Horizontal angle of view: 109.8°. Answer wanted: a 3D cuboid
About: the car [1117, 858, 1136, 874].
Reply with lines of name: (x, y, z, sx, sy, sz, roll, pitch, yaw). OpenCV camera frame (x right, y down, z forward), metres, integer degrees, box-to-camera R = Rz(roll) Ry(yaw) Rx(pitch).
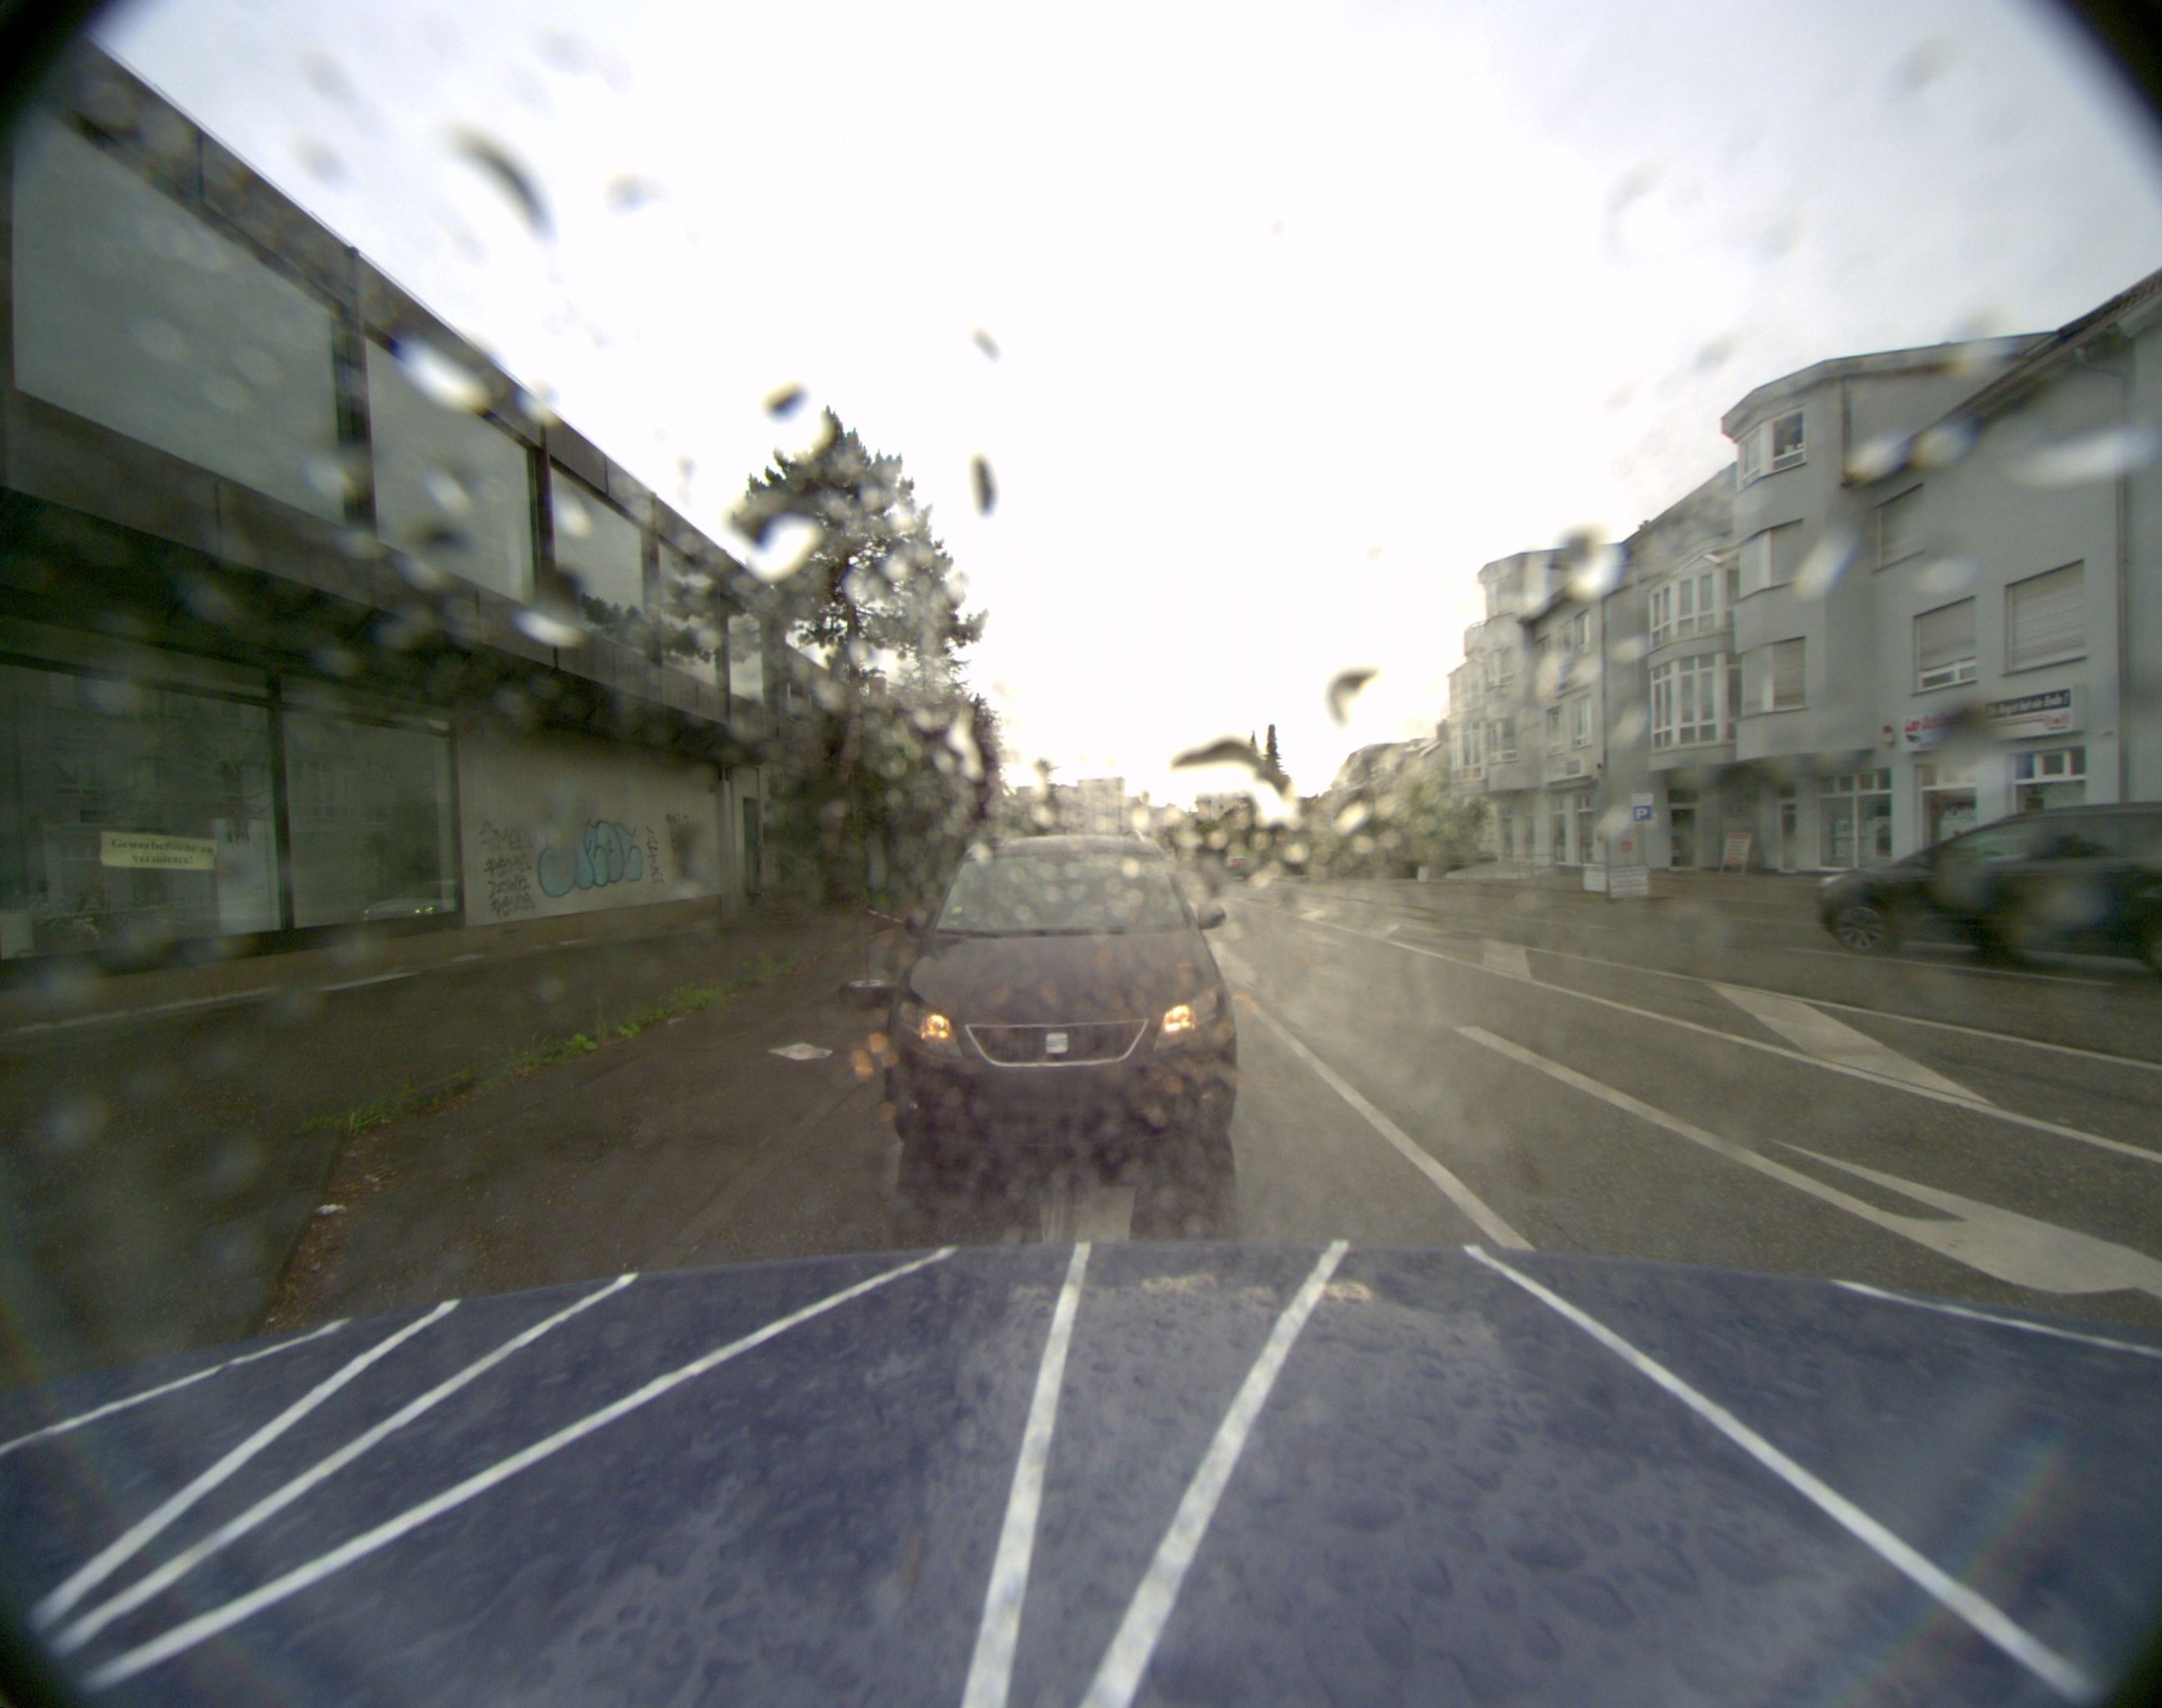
car: (5.365, 1.362, 89.294, 1.998, 1.723, 3.999, -2, 1, 1)

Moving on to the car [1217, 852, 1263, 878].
car: (10.350, 0.688, 49.688, 1.972, 1.503, 3.999, -2, 1, -2)

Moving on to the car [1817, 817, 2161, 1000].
car: (10.290, 0.453, 7.527, 1.884, 1.588, 4.184, -1, 0, -1)

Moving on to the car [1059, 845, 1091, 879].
car: (-0.366, 0.475, 50.414, 1.998, 2.072, 3.999, -2, 1, 1)

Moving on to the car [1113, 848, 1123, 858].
car: (7.611, -0.207, 156.076, 1.998, 1.808, 3.999, -2, 1, 1)

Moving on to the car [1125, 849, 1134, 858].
car: (11.586, -0.051, 182.643, 1.998, 2.002, 3.999, -2, 1, 1)

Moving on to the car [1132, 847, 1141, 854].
car: (14.438, -0.895, 198.726, 1.998, 1.808, 3.999, -2, 1, 1)

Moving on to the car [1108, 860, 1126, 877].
car: (3.806, 1.522, 80.571, 1.663, 1.584, 3.592, -2, 0, 0)

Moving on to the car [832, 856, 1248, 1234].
car: (-0.143, 0.832, 5.601, 1.754, 1.534, 4.676, -1, 1, 1)

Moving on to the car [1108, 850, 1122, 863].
car: (5.228, 0.398, 116.437, 1.998, 1.774, 3.999, -2, 1, 1)

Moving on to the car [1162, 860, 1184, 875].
car: (10.823, 1.513, 89.421, 1.998, 1.615, 4.539, -3, 0, 1)

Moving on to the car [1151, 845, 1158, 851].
car: (21.774, -1.711, 225.333, 1.748, 1.664, 3.591, -2, 1, 1)

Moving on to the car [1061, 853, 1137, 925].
car: (0.465, 0.853, 20.624, 1.803, 1.675, 3.999, -2, 1, 1)
